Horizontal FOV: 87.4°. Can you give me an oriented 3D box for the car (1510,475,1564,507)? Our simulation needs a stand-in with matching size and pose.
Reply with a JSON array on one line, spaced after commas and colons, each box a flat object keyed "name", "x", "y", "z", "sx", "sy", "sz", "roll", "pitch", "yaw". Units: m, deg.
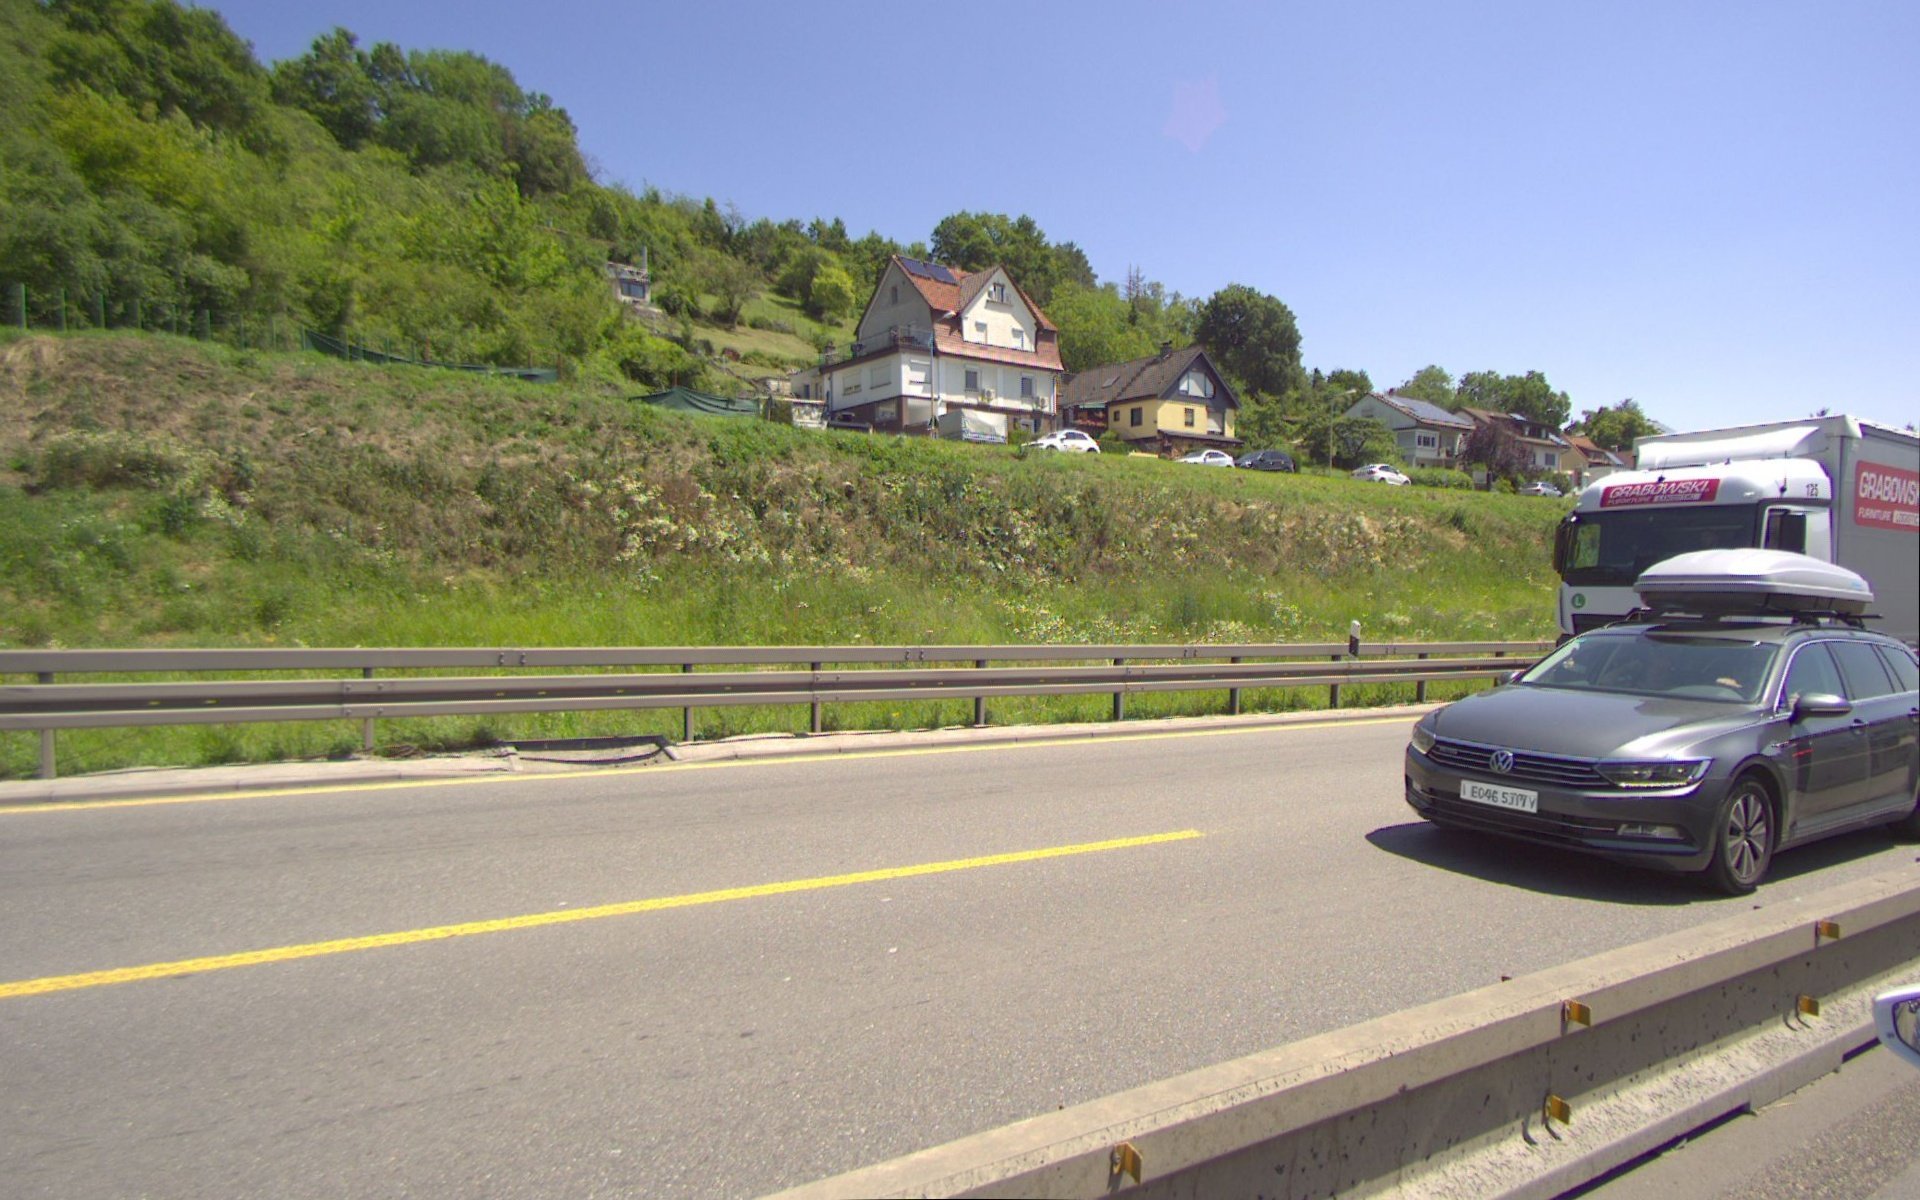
[{"name": "car", "x": 41.908, "y": -7.853, "z": 72.918, "sx": 3.963, "sy": 1.818, "sz": 1.979, "roll": 2, "pitch": 0, "yaw": -37}]

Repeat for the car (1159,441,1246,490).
[{"name": "car", "x": 12.644, "y": -6.945, "z": 52.274, "sx": 4.388, "sy": 1.896, "sz": 1.980, "roll": 2, "pitch": 0, "yaw": -36}]

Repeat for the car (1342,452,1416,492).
[{"name": "car", "x": 26.069, "y": -7.903, "z": 62.378, "sx": 4.966, "sy": 1.818, "sz": 1.979, "roll": 2, "pitch": 0, "yaw": -37}]

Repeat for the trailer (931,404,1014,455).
[{"name": "trailer", "x": 0.528, "y": -7.153, "z": 42.306, "sx": 3.014, "sy": 1.536, "sz": 1.885, "roll": 2, "pitch": 0, "yaw": -41}]

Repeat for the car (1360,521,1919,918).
[{"name": "car", "x": 4.952, "y": 0.591, "z": 6.768, "sx": 4.448, "sy": 1.915, "sz": 1.840, "roll": 1, "pitch": 1, "yaw": -30}]

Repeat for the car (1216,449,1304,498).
[{"name": "car", "x": 16.608, "y": -6.947, "z": 55.482, "sx": 4.924, "sy": 2.035, "sz": 2.057, "roll": 2, "pitch": 0, "yaw": -36}]

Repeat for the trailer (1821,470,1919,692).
[{"name": "trailer", "x": 21.228, "y": -0.269, "z": 20.493, "sx": 8.605, "sy": 4.042, "sz": 2.914, "roll": 1, "pitch": 0, "yaw": -31}]

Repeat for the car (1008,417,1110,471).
[{"name": "car", "x": 4.536, "y": -7.022, "z": 45.625, "sx": 4.516, "sy": 1.678, "sz": 1.977, "roll": 2, "pitch": 0, "yaw": -40}]

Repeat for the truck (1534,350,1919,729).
[{"name": "truck", "x": 13.160, "y": -0.631, "z": 15.567, "sx": 10.264, "sy": 4.455, "sz": 2.608, "roll": 1, "pitch": 1, "yaw": -31}]
